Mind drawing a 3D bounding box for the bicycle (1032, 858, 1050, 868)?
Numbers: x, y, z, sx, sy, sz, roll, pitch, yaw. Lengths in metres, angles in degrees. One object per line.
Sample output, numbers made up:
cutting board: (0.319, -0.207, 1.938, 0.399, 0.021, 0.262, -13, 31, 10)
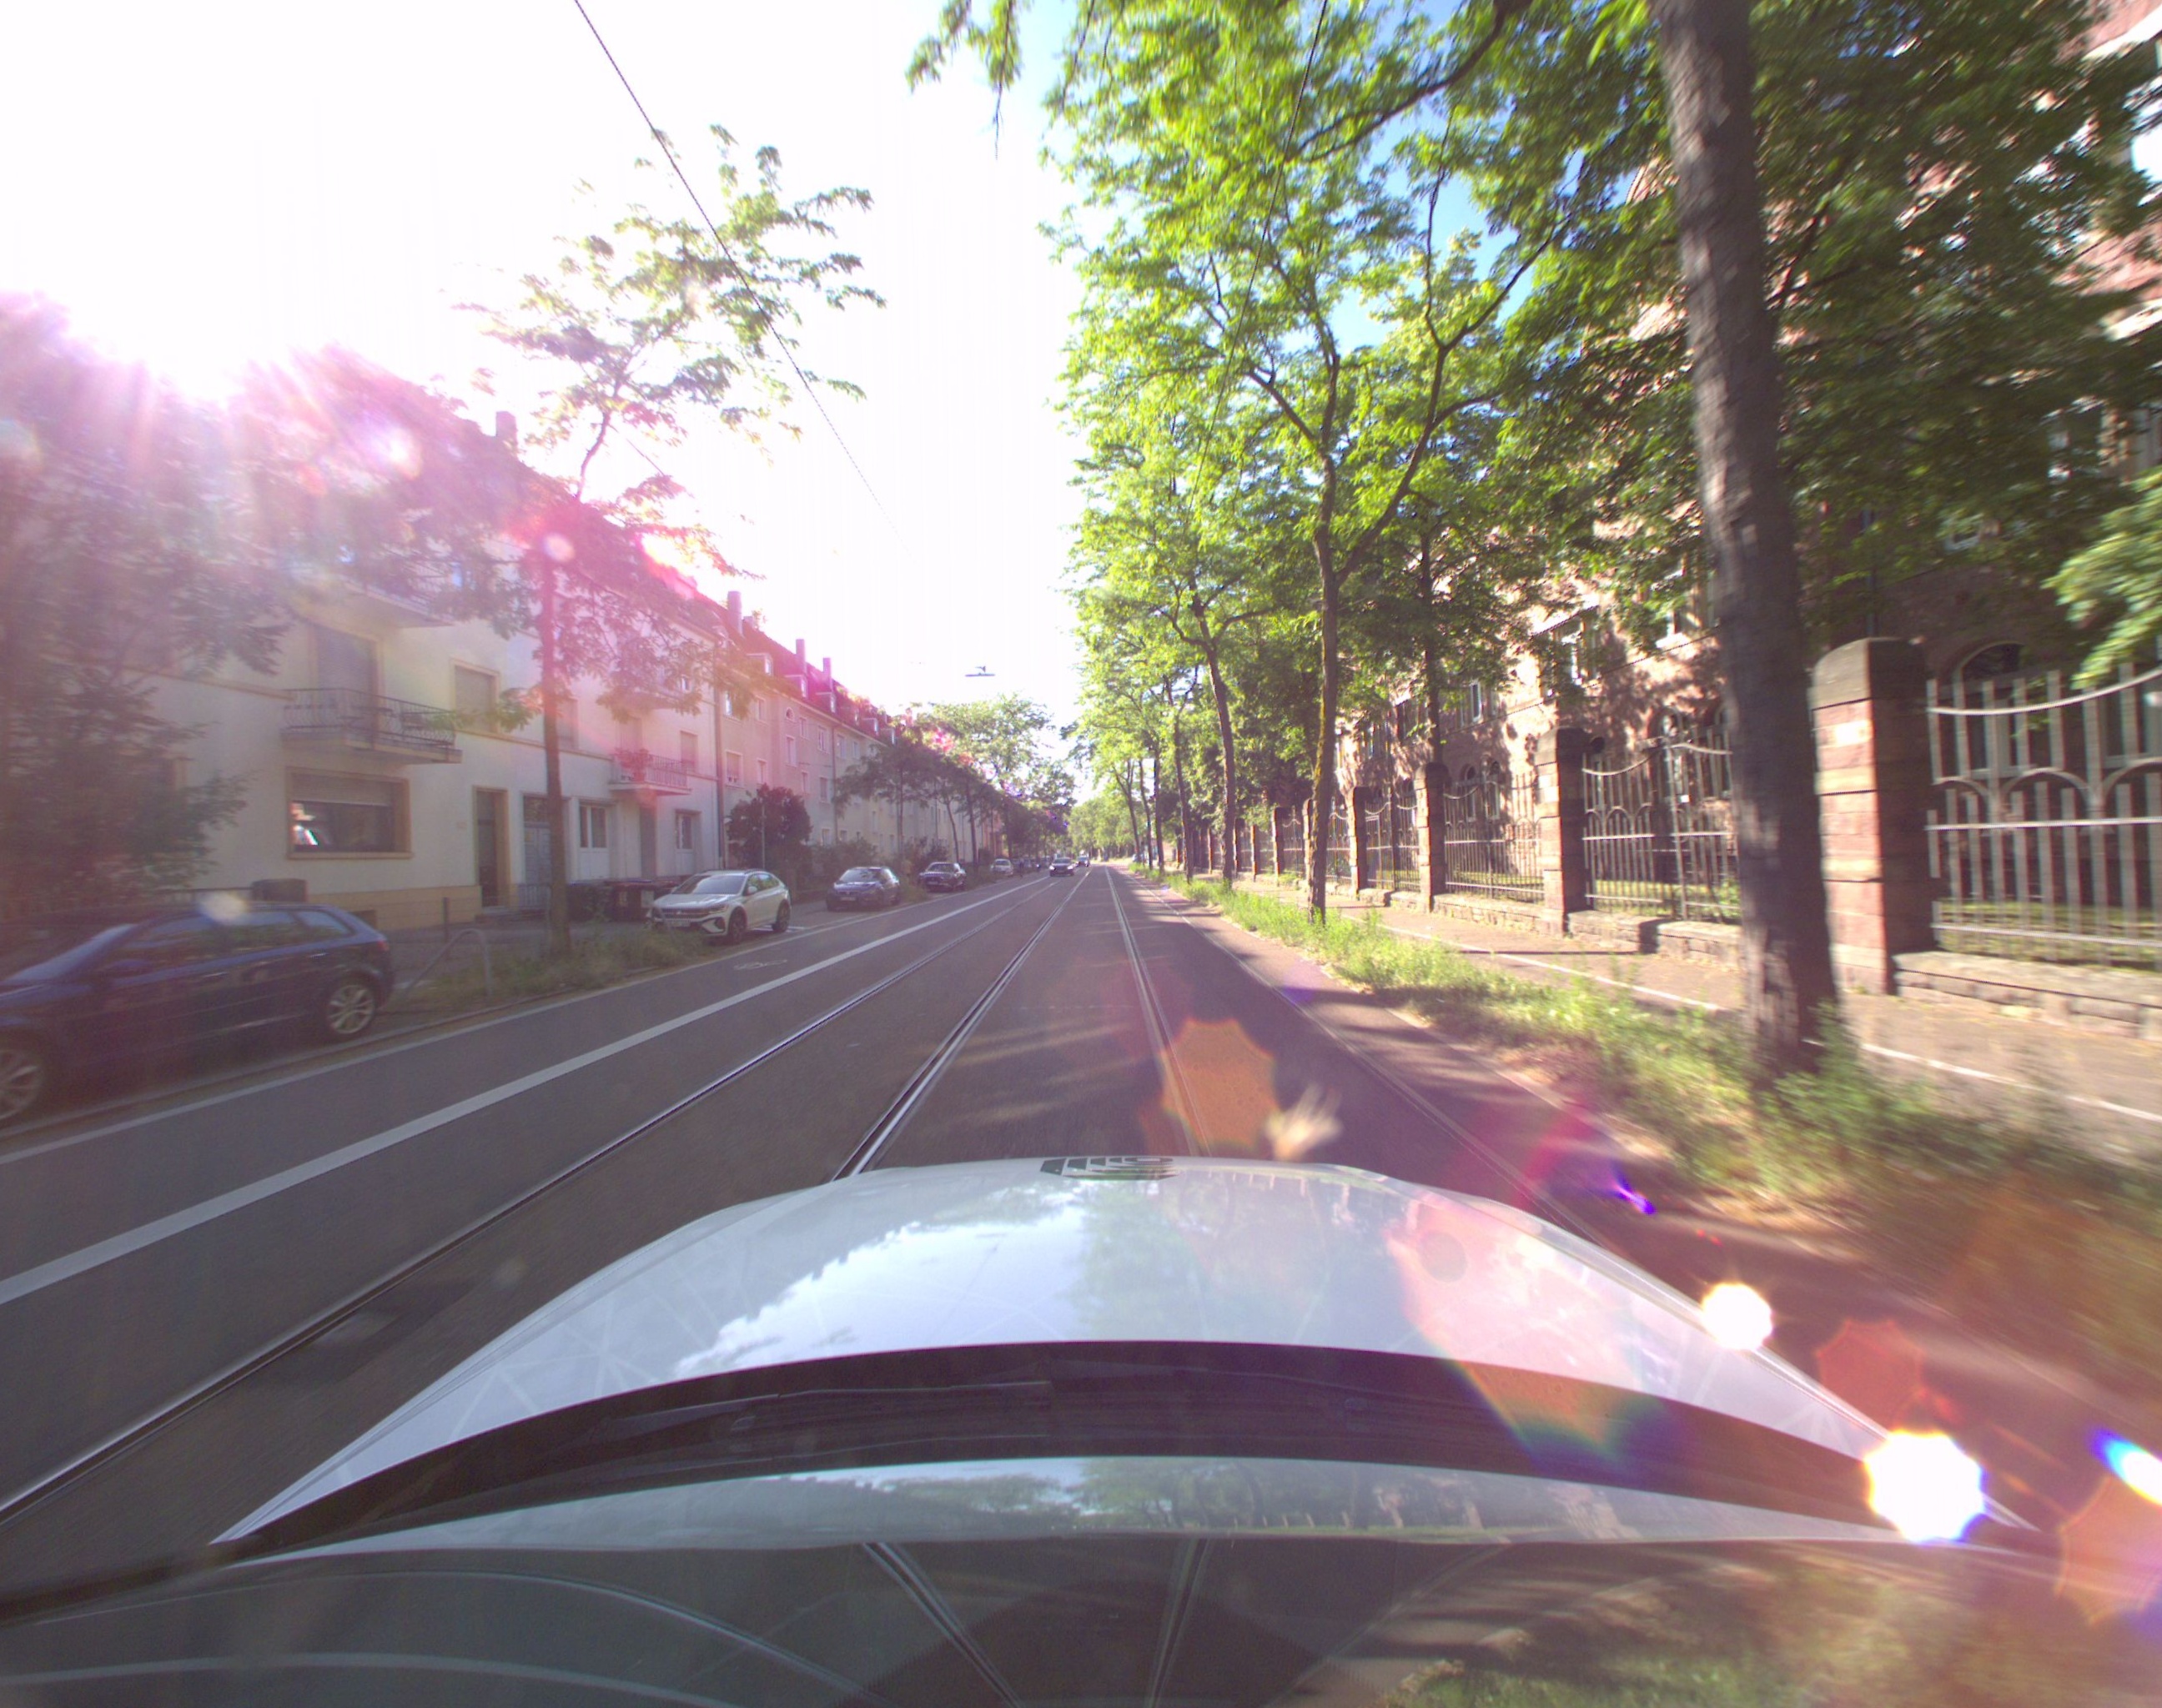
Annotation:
bicycle: (-5.156, 1.129, 104.784, 2.272, 1.198, 0.561, 0, 0, 8)

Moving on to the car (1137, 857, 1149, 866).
car: (11.414, 1.348, 150.092, 1.833, 1.655, 3.578, -2, 0, -1)

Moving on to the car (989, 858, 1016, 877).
car: (-6.480, 1.105, 67.730, 1.696, 1.485, 4.080, 1, 0, 1)

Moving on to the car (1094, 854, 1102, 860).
car: (4.900, 0.902, 232.866, 1.939, 1.610, 3.995, -2, 0, -4)

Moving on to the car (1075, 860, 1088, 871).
car: (0.136, 1.592, 111.210, 1.694, 1.439, 4.071, -2, 0, 0)

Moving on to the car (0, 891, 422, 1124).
car: (-8.065, 1.113, 6.705, 1.700, 1.406, 4.334, -1, 0, 0)

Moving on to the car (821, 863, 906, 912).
car: (-7.516, 1.100, 28.554, 1.752, 1.511, 4.438, -1, 0, 0)

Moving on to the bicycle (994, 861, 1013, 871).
bicycle: (-9.711, 1.501, 102.433, 2.272, 1.198, 0.561, 0, 0, 8)

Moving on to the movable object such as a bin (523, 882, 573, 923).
movable object such as a bin: (-14.333, 1.296, 21.935, 0.841, 1.046, 0.733, 0, 0, 4)

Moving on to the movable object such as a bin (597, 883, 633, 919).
movable object such as a bin: (-13.222, 1.314, 23.103, 0.557, 0.975, 0.733, 0, 0, 4)

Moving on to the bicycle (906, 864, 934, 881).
bicycle: (-11.665, 1.352, 58.919, 1.901, 1.177, 0.521, 0, -1, -1)

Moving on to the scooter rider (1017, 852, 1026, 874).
scooter rider: (-4.795, 0.724, 66.063, 0.495, 1.699, 0.787, -5, 0, 1)

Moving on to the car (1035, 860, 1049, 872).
car: (-5.469, 1.680, 114.540, 1.740, 1.569, 4.067, 1, 0, -1)

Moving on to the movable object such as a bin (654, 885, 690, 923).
movable object such as a bin: (-11.024, 1.332, 21.947, 0.557, 0.975, 0.733, 0, 0, 4)

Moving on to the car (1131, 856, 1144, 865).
car: (11.314, 1.324, 163.066, 1.939, 1.610, 3.994, -2, 0, -4)

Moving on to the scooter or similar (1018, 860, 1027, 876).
scooter or similar: (-4.756, 1.127, 66.095, 0.518, 1.297, 1.378, -5, 0, 1)

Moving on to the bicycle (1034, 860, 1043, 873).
bicycle: (-4.178, 1.243, 80.022, 0.624, 1.177, 1.913, -5, 0, 1)

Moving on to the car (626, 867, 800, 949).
car: (-7.907, 1.079, 18.010, 1.811, 1.511, 4.371, -1, 0, 0)

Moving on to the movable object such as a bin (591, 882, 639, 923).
movable object such as a bin: (-12.599, 1.298, 22.023, 0.841, 1.046, 0.733, 0, 0, 4)

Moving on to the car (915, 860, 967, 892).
car: (-7.093, 1.100, 41.540, 1.810, 1.485, 4.207, -1, 0, 1)

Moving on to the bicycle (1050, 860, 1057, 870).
bicycle: (-3.561, 1.443, 104.695, 0.692, 1.177, 1.913, -5, 0, 1)

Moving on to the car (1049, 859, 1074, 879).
car: (-1.477, 1.138, 63.655, 1.752, 1.439, 4.523, -2, 0, 0)

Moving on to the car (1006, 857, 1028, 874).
car: (-5.990, 1.049, 76.427, 1.681, 1.485, 3.760, 1, 0, 0)

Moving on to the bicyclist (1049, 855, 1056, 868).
bicyclist: (-3.605, 0.996, 104.649, 0.707, 1.607, 0.865, -5, 0, 1)

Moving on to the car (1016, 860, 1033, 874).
car: (-5.901, 1.346, 85.948, 1.555, 1.457, 3.929, 1, 0, -1)

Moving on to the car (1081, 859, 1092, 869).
car: (0.927, 1.624, 133.702, 1.694, 1.471, 4.071, -2, 0, 0)

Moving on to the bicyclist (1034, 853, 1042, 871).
bicyclist: (-4.215, 0.784, 79.991, 0.624, 1.639, 0.940, -5, 0, 1)

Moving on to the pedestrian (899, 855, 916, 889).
pedestrian: (-9.575, 0.980, 45.052, 0.689, 1.801, 0.813, -2, 0, 1)

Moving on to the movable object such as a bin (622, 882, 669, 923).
movable object such as a bin: (-11.738, 1.303, 21.986, 0.841, 1.046, 0.733, 0, 0, 4)

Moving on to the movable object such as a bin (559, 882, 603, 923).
movable object such as a bin: (-13.436, 1.298, 21.893, 0.704, 1.046, 0.733, 0, 0, 4)
